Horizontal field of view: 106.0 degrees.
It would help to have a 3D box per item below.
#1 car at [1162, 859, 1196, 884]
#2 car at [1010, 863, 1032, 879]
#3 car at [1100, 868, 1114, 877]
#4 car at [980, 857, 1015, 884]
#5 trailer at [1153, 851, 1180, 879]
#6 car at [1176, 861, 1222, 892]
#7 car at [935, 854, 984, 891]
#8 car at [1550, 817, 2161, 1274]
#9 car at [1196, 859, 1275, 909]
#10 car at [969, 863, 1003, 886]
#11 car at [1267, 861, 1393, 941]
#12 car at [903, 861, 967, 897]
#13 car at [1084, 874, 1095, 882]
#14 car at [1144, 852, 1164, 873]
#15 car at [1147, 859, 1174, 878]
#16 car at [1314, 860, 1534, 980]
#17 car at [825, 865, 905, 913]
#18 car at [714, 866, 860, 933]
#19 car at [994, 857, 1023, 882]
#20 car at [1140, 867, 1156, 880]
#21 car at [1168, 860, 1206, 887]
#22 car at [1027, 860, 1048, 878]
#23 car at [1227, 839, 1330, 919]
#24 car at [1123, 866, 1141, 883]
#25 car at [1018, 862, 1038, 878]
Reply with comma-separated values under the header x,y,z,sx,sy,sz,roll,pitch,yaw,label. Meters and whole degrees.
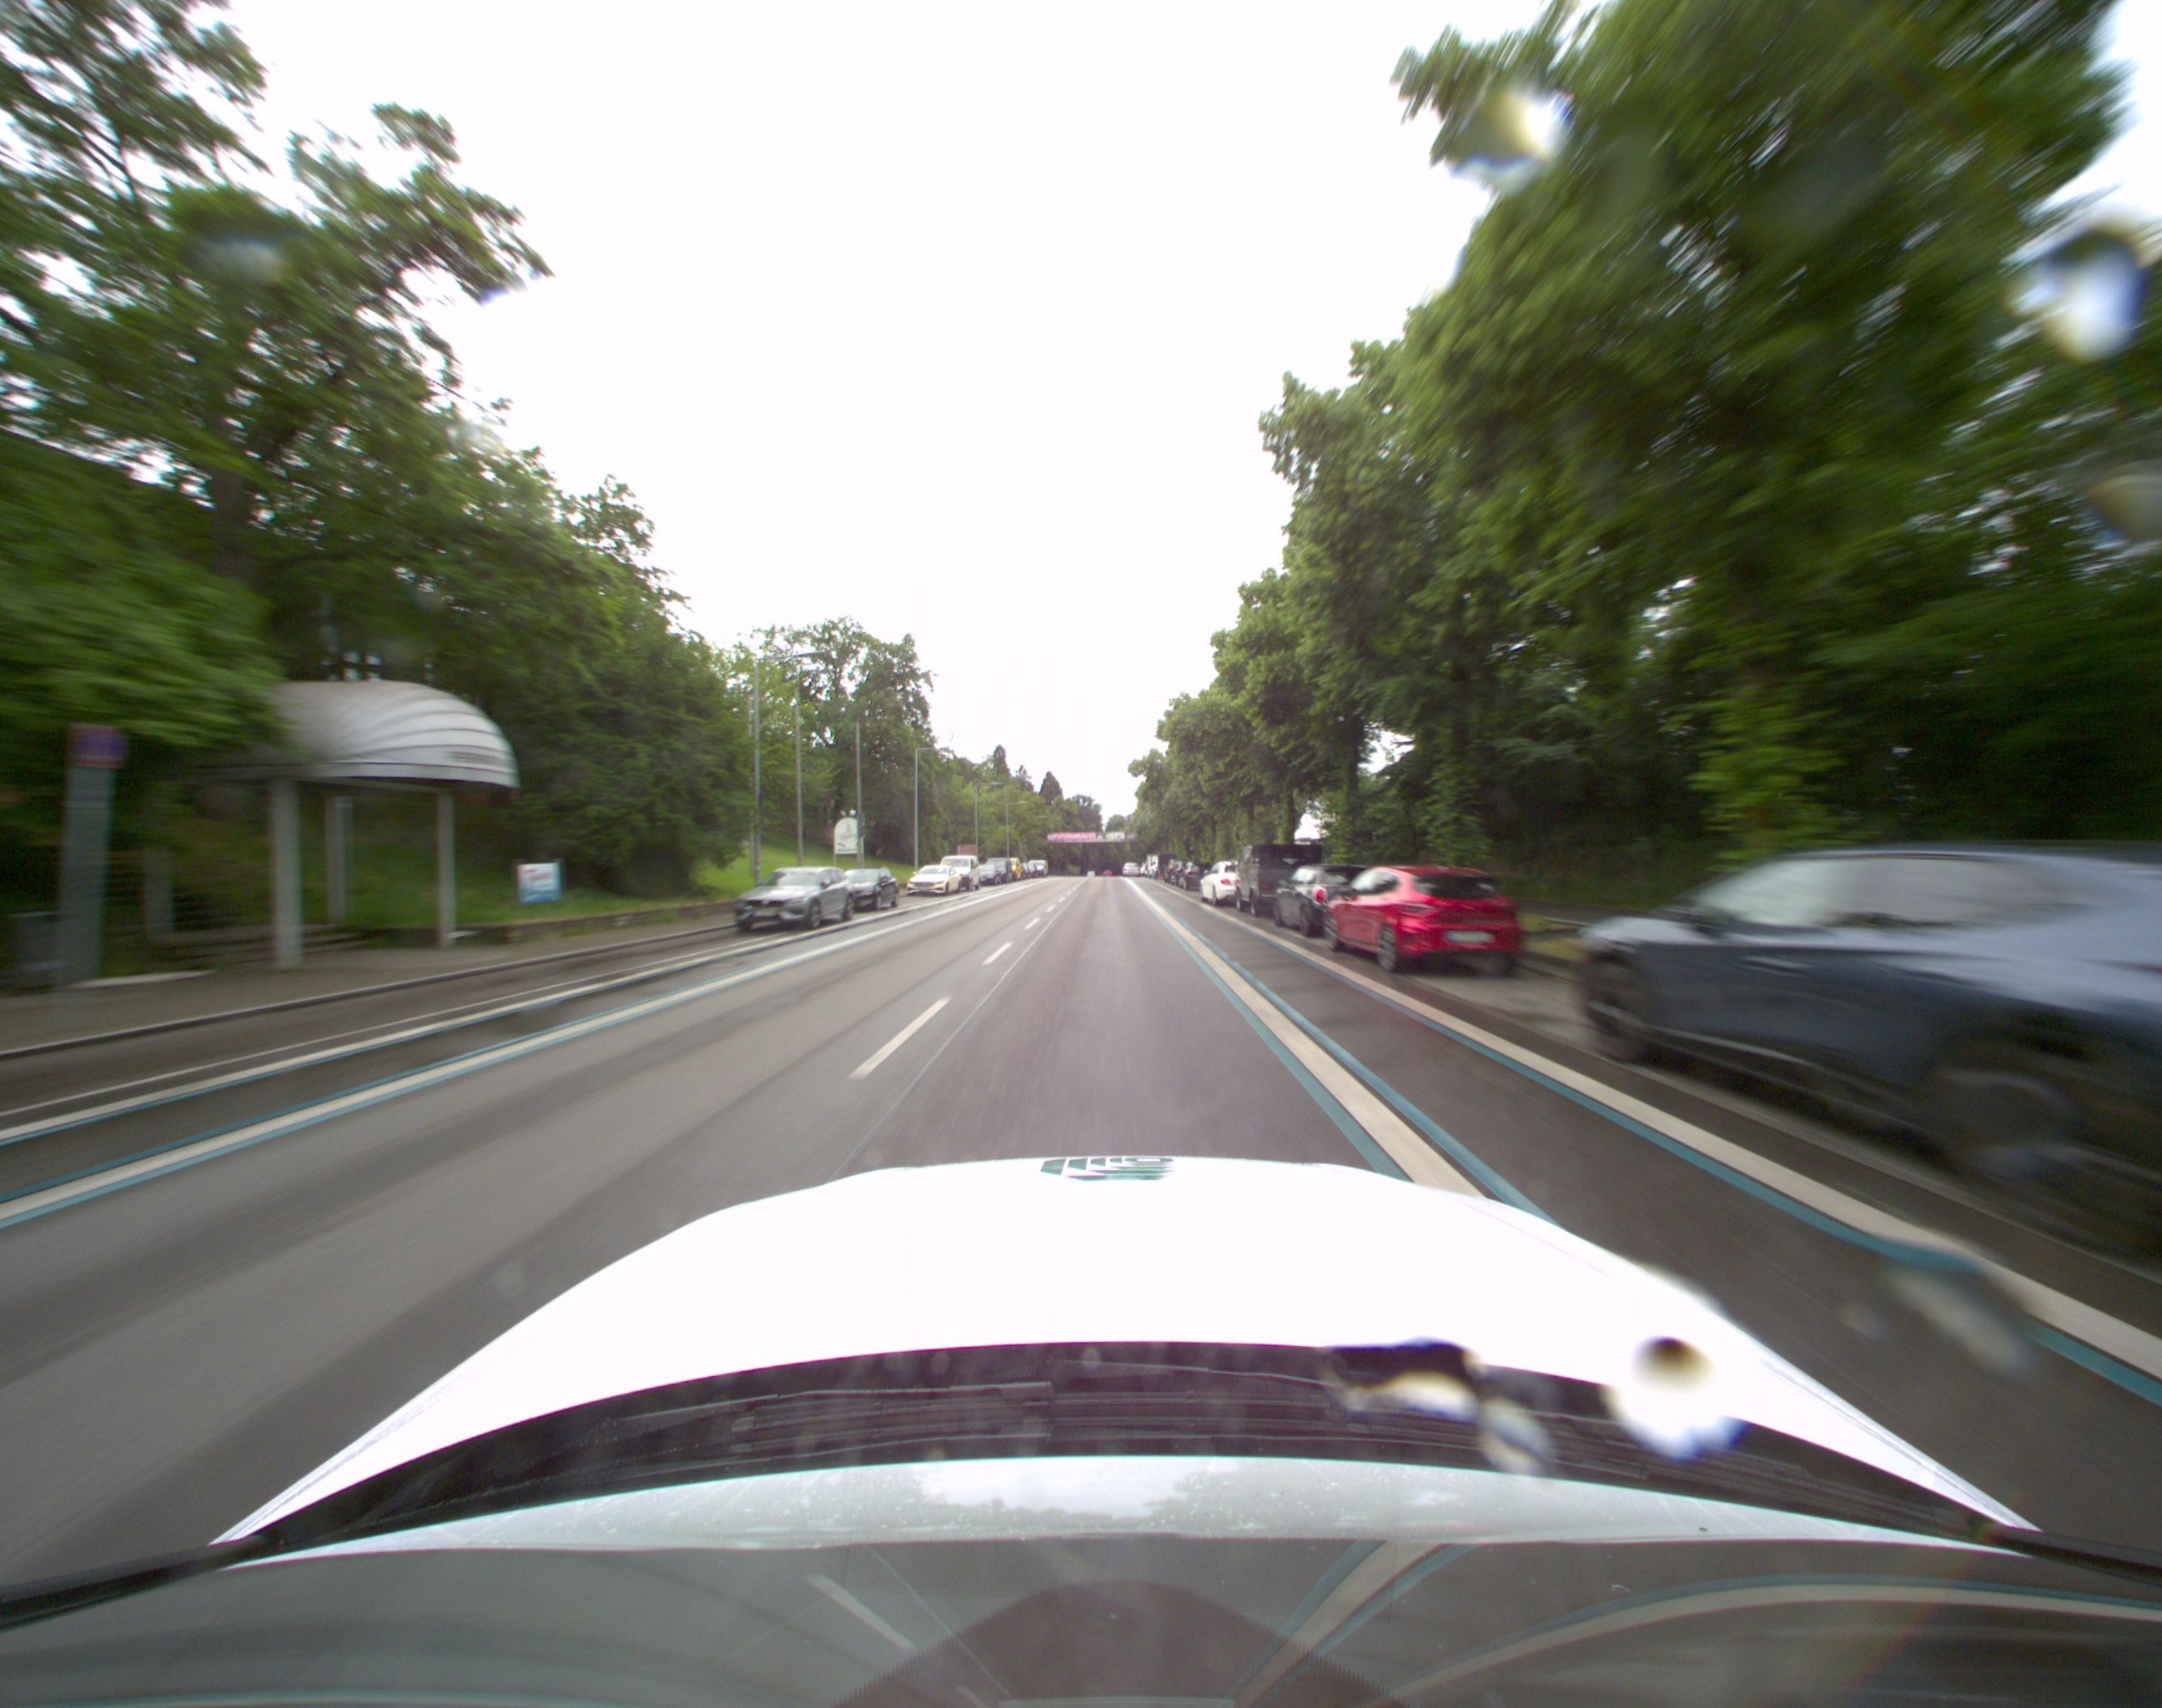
x,y,z,sx,sy,sz,roll,pitch,yaw,label
6.456,1.144,53.848,1.725,1.583,4.153,1,-1,0,car
-5.811,1.645,79.007,1.880,1.451,3.981,-1,0,-1,car
4.589,3.233,144.285,2.134,1.492,4.495,0,0,-2,car
-6.335,1.200,62.170,1.983,1.946,5.143,-1,0,1,car
6.913,0.887,66.051,1.876,2.166,3.810,-1,-1,2,trailer
6.025,1.127,41.925,1.725,1.463,4.276,0,0,0,car
-6.836,1.013,46.251,1.906,1.931,4.929,-1,0,1,car
4.709,0.685,4.521,1.749,1.590,4.500,1,0,2,car
5.162,0.959,27.883,1.783,1.543,4.888,1,-1,0,car
-6.569,1.396,56.707,1.725,1.390,4.371,-1,0,1,car
5.082,0.885,17.086,1.600,1.453,3.748,1,0,2,car
-7.110,1.195,40.100,1.982,1.605,4.988,-1,0,3,car
1.635,4.561,153.867,1.864,1.473,4.051,-1,-2,-1,car
7.357,0.847,82.817,1.881,2.127,4.048,0,-1,3,car
6.800,1.259,70.165,1.727,1.583,4.149,-1,-1,-3,car
4.876,0.842,12.241,1.679,1.453,4.167,1,0,2,car
-7.303,1.131,27.909,1.690,1.437,4.052,-1,0,-1,car
-7.386,1.082,21.069,2.070,1.482,4.672,0,0,0,car
-6.058,1.261,68.429,1.876,1.945,4.826,-1,0,0,car
7.794,2.285,94.818,1.724,1.462,4.048,-1,-1,3,car
6.253,1.119,48.373,1.725,1.463,4.072,0,0,0,car
-4.902,1.663,92.357,1.749,1.931,4.198,-1,0,4,car
5.406,0.639,22.906,1.919,2.022,4.666,0,0,2,car
5.183,2.098,83.232,1.725,1.583,4.037,-1,-1,1,car
-5.490,1.683,84.923,1.864,1.542,4.052,-1,0,-1,car
